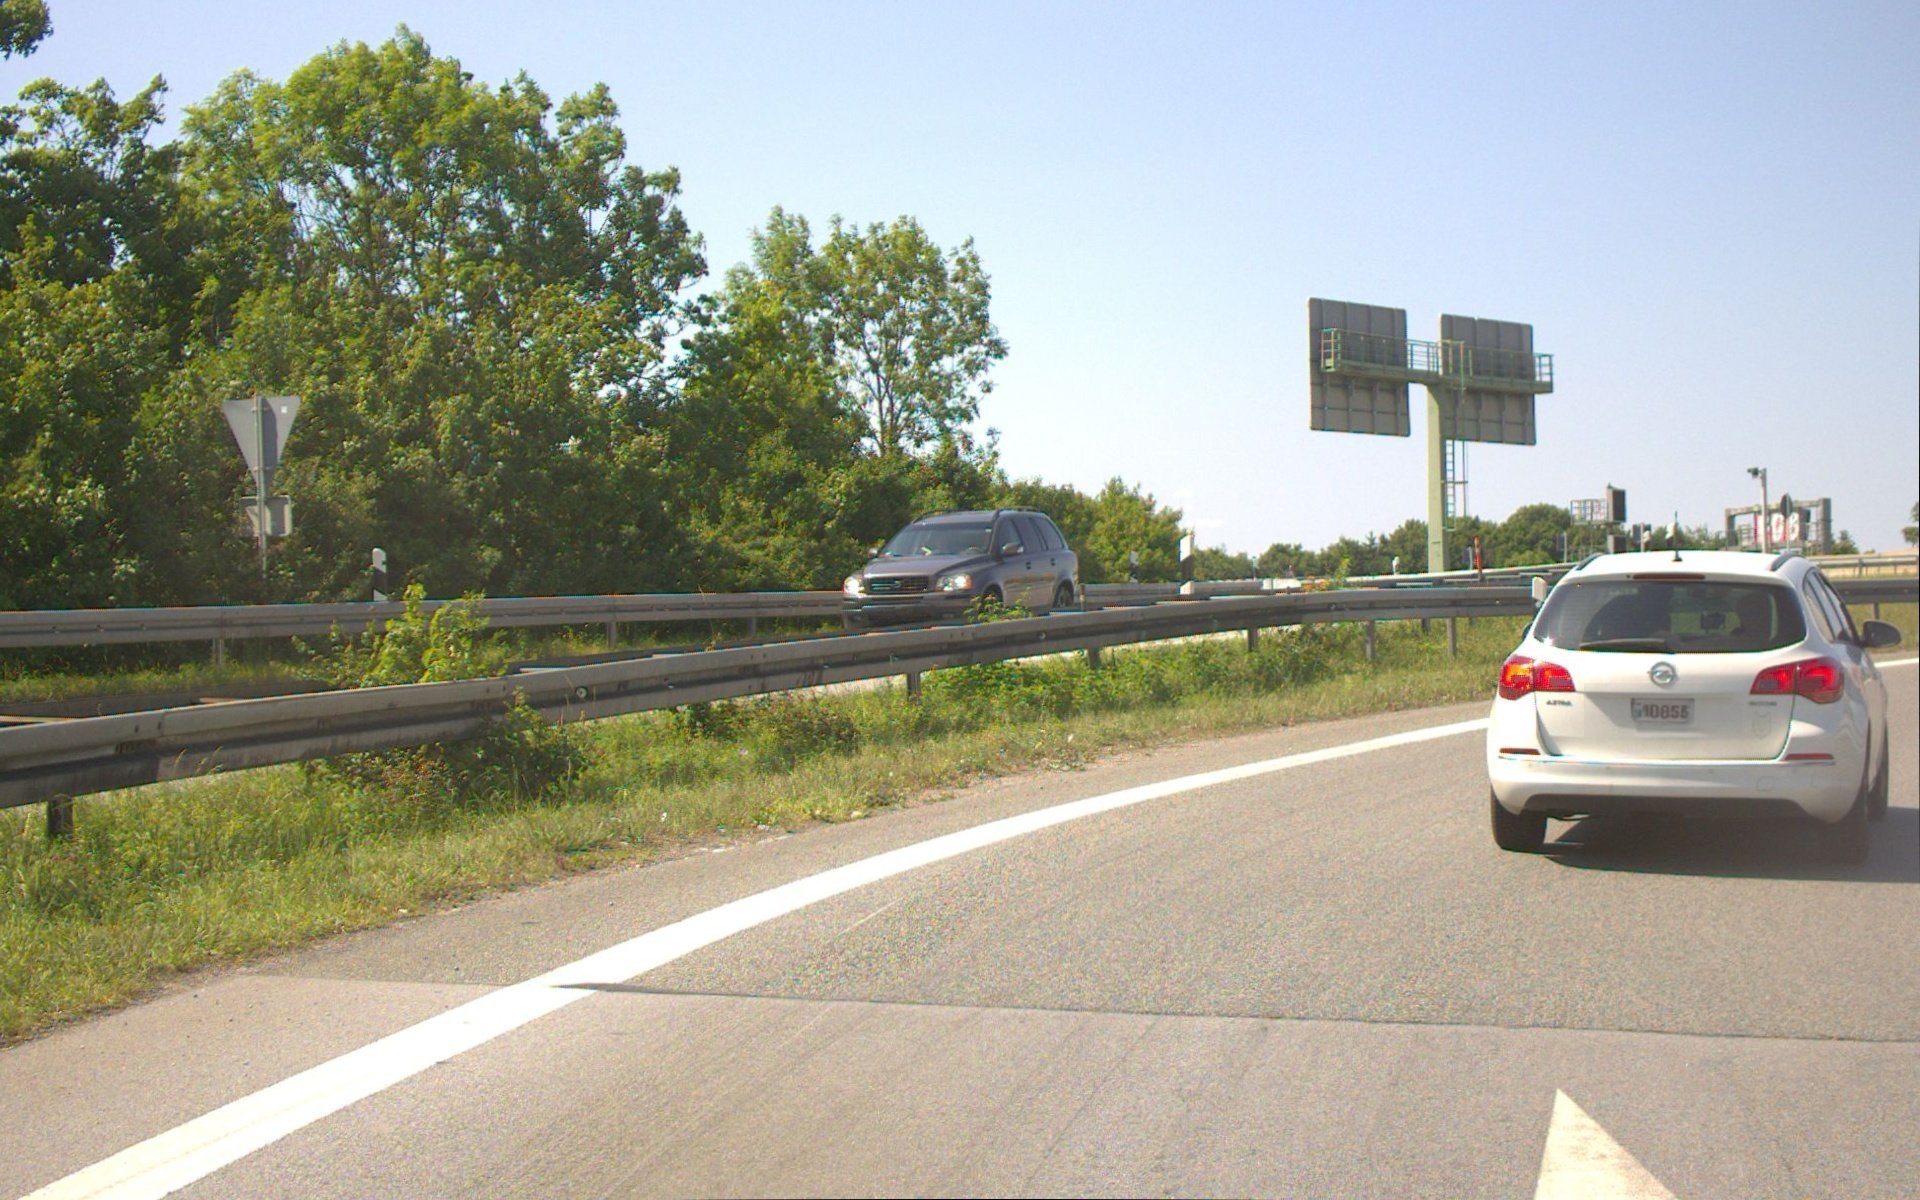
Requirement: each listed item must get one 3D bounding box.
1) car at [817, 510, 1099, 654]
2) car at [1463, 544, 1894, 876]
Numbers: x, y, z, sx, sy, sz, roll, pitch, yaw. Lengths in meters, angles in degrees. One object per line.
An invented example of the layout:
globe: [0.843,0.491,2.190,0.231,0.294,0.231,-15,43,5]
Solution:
car: [0.055,-0.271,44.116,1.995,1.725,5.193,1,1,19]
car: [3.812,0.457,17.685,1.855,1.438,4.369,0,1,16]
